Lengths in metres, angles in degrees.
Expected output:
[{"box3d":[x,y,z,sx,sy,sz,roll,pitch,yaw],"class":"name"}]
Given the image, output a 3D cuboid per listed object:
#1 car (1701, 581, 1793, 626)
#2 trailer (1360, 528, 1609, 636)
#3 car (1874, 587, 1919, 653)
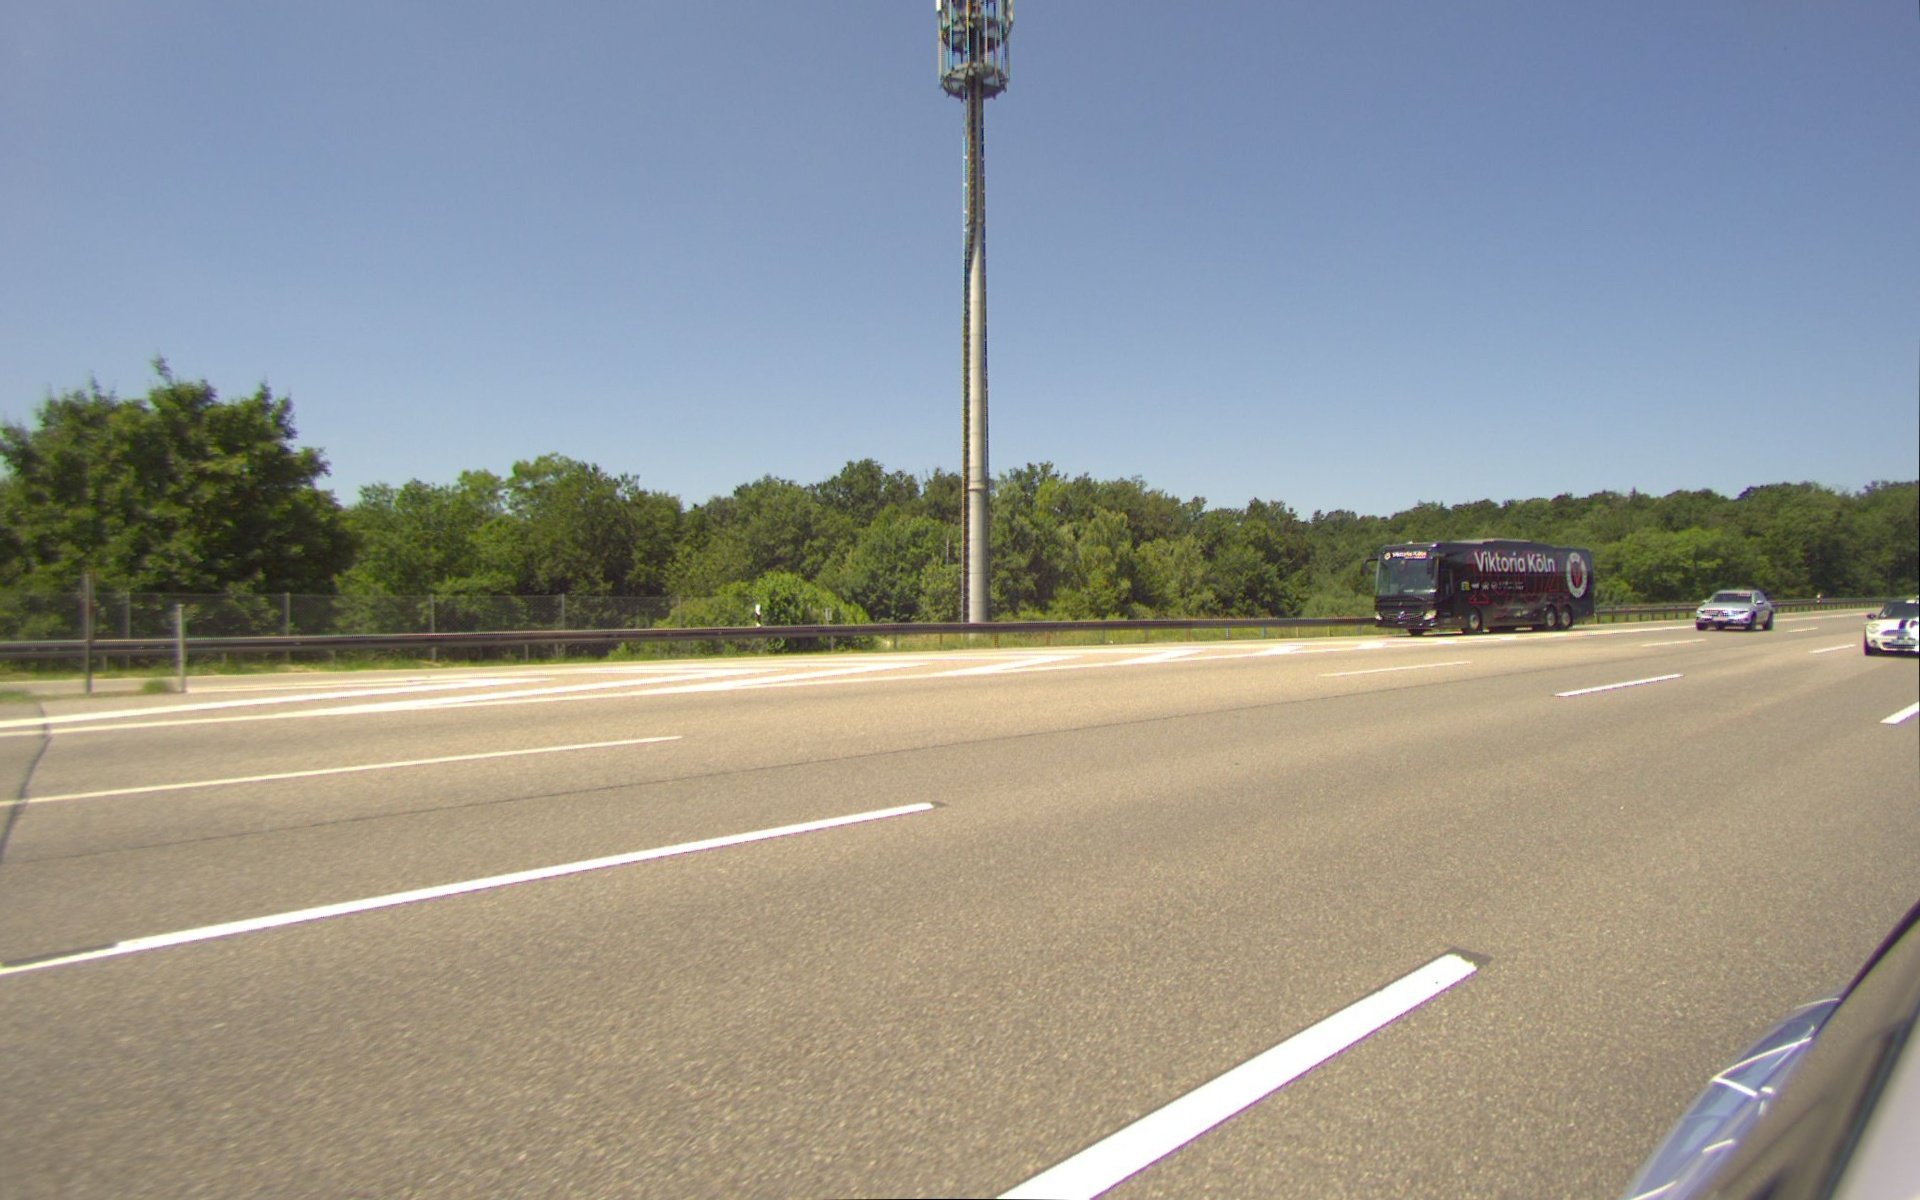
[{"box3d":[32.157,0.143,41.308,5.143,1.753,1.805,0,0,-38],"class":"car"},{"box3d":[21.035,-0.740,39.982,13.285,3.734,2.867,-1,0,-35],"class":"trailer"},{"box3d":[24.274,0.452,25.116,3.929,1.571,1.844,-1,0,-40],"class":"car"}]
